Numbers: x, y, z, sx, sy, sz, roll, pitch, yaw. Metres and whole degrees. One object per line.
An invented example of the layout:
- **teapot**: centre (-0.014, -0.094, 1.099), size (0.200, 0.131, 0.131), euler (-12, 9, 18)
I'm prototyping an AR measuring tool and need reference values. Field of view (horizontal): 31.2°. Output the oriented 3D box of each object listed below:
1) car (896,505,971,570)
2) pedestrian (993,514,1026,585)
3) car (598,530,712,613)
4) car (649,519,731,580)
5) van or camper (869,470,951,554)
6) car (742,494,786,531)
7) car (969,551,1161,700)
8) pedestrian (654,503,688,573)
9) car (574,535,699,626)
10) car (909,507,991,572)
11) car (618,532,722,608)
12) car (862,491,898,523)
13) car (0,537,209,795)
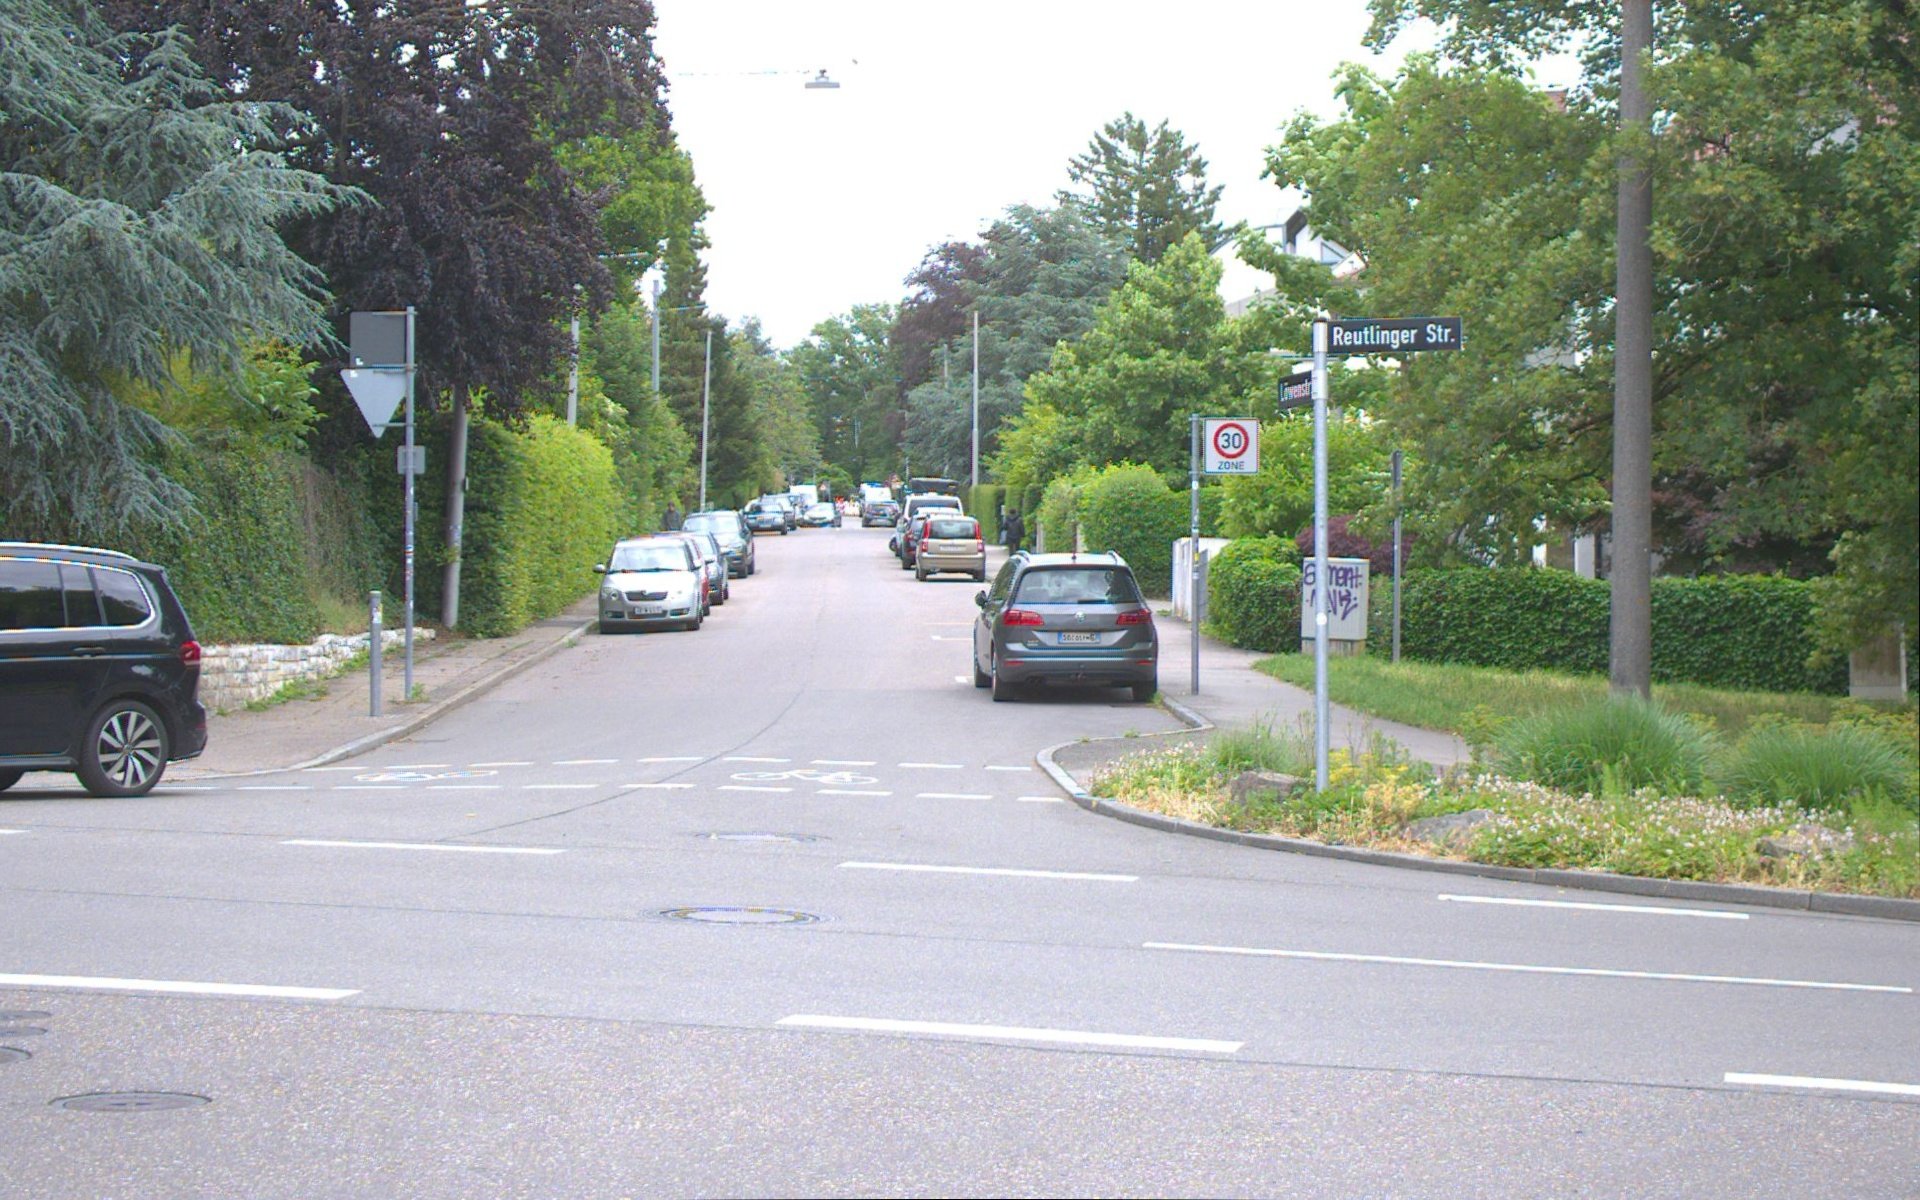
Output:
- **car**: centre (-0.709, -1.623, 89.954), size (1.747, 1.634, 3.728), euler (1, 1, -4)
- **pedestrian**: centre (1.337, -1.371, 92.782), size (0.757, 1.865, 0.620), euler (3, 1, -2)
- **car**: centre (-5.496, -0.532, 62.348), size (1.946, 1.437, 4.001), euler (1, 1, -4)
- **car**: centre (-6.681, -1.261, 85.377), size (1.946, 1.437, 4.001), euler (1, 1, -4)
- **van or camper**: centre (-1.521, -2.599, 102.679), size (2.112, 2.396, 5.247), euler (1, 1, -4)
- **car**: centre (-8.291, -3.684, 145.701), size (1.715, 1.458, 3.657), euler (3, 1, -2)
- **car**: centre (1.092, 0.235, 37.620), size (1.817, 1.531, 4.001), euler (0, 1, -2)
- **pedestrian**: centre (-8.447, -1.805, 100.392), size (0.853, 2.007, 0.873), euler (3, 1, -7)
- **car**: centre (-5.342, -0.348, 57.202), size (1.946, 1.437, 4.001), euler (1, 1, -4)
- **car**: centre (-0.265, -1.425, 80.895), size (1.609, 1.409, 3.474), euler (3, 1, -5)
- **car**: centre (-5.659, -0.607, 67.540), size (1.946, 1.437, 4.001), euler (1, 1, -4)
- **car**: centre (-4.211, -4.844, 179.703), size (1.815, 1.568, 4.000), euler (1, 1, -2)
- **car**: centre (-7.067, 0.398, 21.654), size (1.852, 1.606, 4.300), euler (0, -1, 40)
